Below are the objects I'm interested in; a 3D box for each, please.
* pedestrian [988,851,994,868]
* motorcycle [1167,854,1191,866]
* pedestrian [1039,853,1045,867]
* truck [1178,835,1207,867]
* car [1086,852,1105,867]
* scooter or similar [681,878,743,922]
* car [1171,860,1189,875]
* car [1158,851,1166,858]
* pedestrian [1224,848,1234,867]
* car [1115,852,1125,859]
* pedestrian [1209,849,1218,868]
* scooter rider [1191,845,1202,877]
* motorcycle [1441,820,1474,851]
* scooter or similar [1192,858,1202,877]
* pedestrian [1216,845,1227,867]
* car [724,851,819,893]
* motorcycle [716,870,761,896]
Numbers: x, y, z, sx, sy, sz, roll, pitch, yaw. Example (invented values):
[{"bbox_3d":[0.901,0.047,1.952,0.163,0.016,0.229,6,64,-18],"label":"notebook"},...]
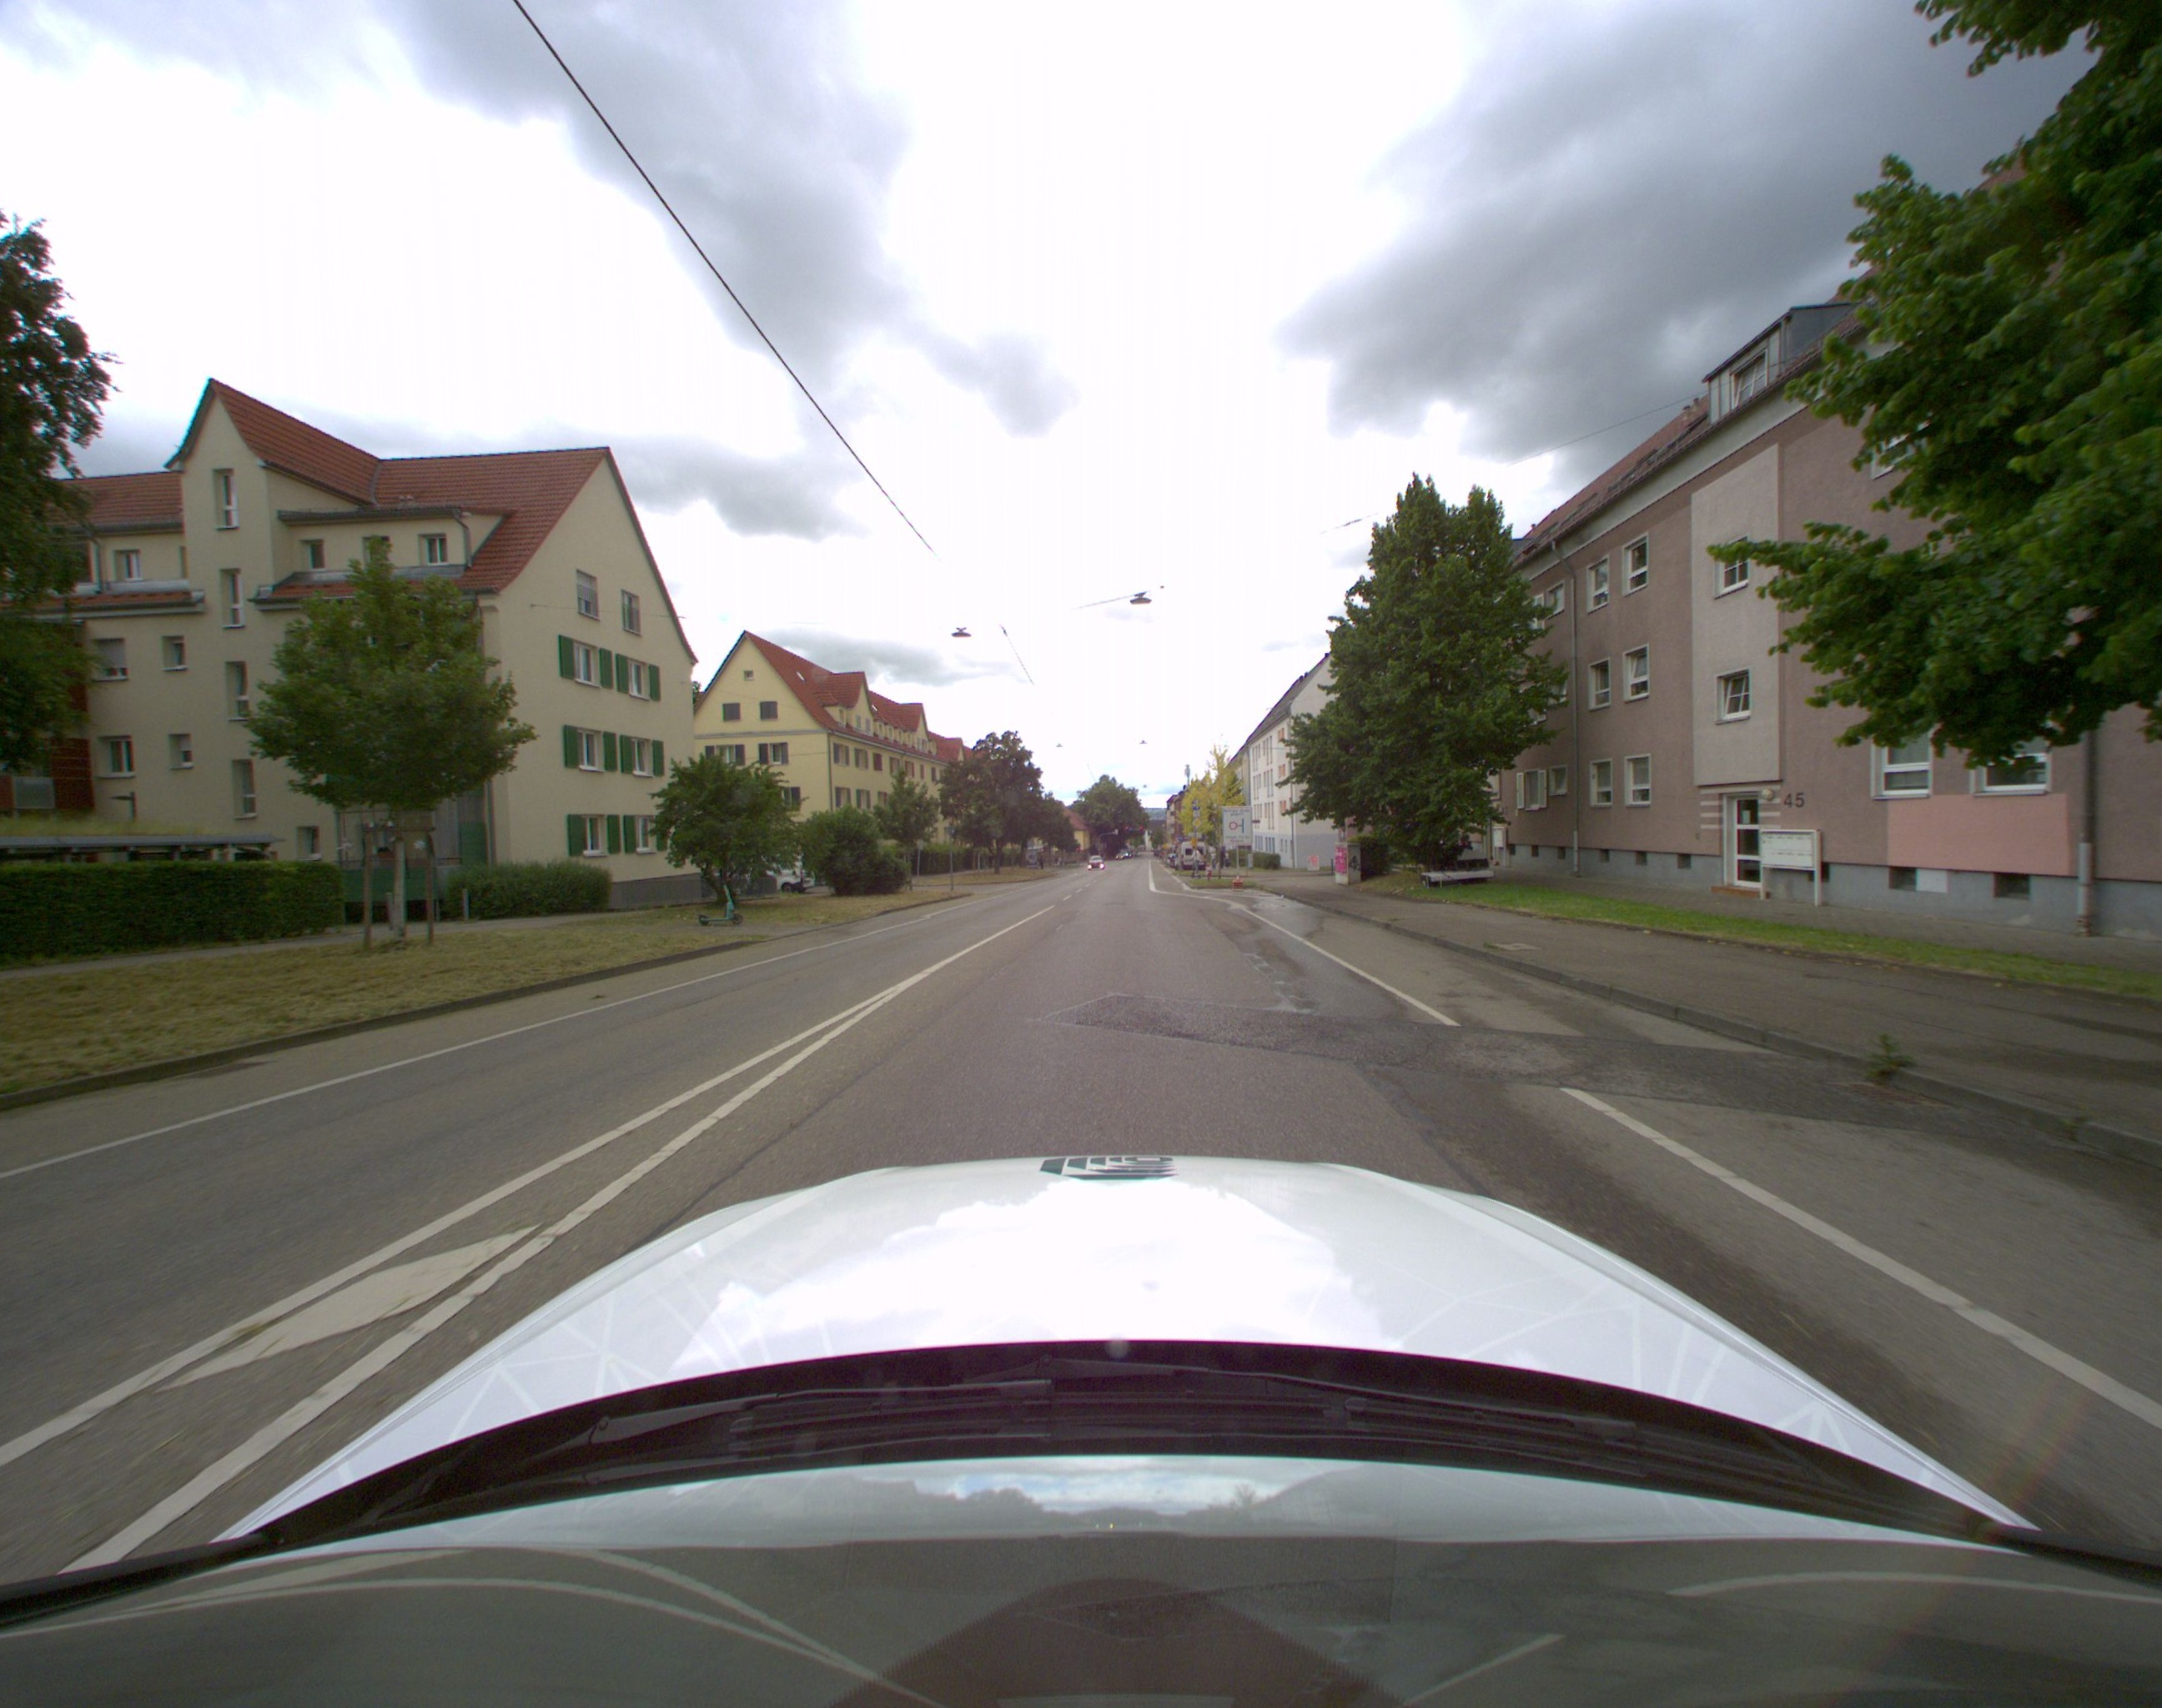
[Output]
[{"bbox_3d":[-9.876,0.605,89.360,0.511,1.779,0.754,-1,0,4],"label":"pedestrian"},{"bbox_3d":[11.319,0.666,94.095,2.589,1.278,0.753,-1,0,0],"label":"motorcycle"},{"bbox_3d":[-4.885,0.731,101.148,0.594,1.726,0.863,-1,0,7],"label":"pedestrian"},{"bbox_3d":[9.395,-0.289,69.032,2.043,2.565,5.695,-1,0,4],"label":"truck"},{"bbox_3d":[1.753,0.592,95.077,1.890,1.620,4.368,-1,0,5],"label":"car"},{"bbox_3d":[-9.684,1.201,21.403,1.365,1.086,0.467,-2,0,0],"label":"scooter or similar"},{"bbox_3d":[10.996,1.449,90.915,1.673,1.544,4.343,-1,0,3],"label":"car"},{"bbox_3d":[23.407,0.027,236.020,1.986,1.935,4.921,-1,0,2],"label":"car"},{"bbox_3d":[12.991,0.326,71.534,0.656,1.605,0.574,-6,0,-5],"label":"pedestrian"},{"bbox_3d":[8.519,0.315,178.168,1.746,1.472,4.316,-2,0,8],"label":"car"},{"bbox_3d":[11.761,0.370,72.265,0.576,1.644,0.559,-2,-1,-10],"label":"pedestrian"},{"bbox_3d":[7.233,0.423,50.980,0.622,2.013,0.758,-1,0,4],"label":"scooter rider"},{"bbox_3d":[15.635,-0.754,33.869,0.588,1.227,1.969,-1,0,4],"label":"motorcycle"},{"bbox_3d":[7.241,0.824,50.919,0.488,1.163,2.077,-1,0,4],"label":"scooter or similar"},{"bbox_3d":[12.304,0.178,71.176,0.669,1.887,0.764,-2,-1,-8],"label":"pedestrian"},{"bbox_3d":[-17.881,1.040,47.174,4.696,2.253,1.998,-2,0,5],"label":"car"},{"bbox_3d":[-18.299,1.525,43.495,2.572,1.278,1.023,-1,0,37],"label":"motorcycle"}]
